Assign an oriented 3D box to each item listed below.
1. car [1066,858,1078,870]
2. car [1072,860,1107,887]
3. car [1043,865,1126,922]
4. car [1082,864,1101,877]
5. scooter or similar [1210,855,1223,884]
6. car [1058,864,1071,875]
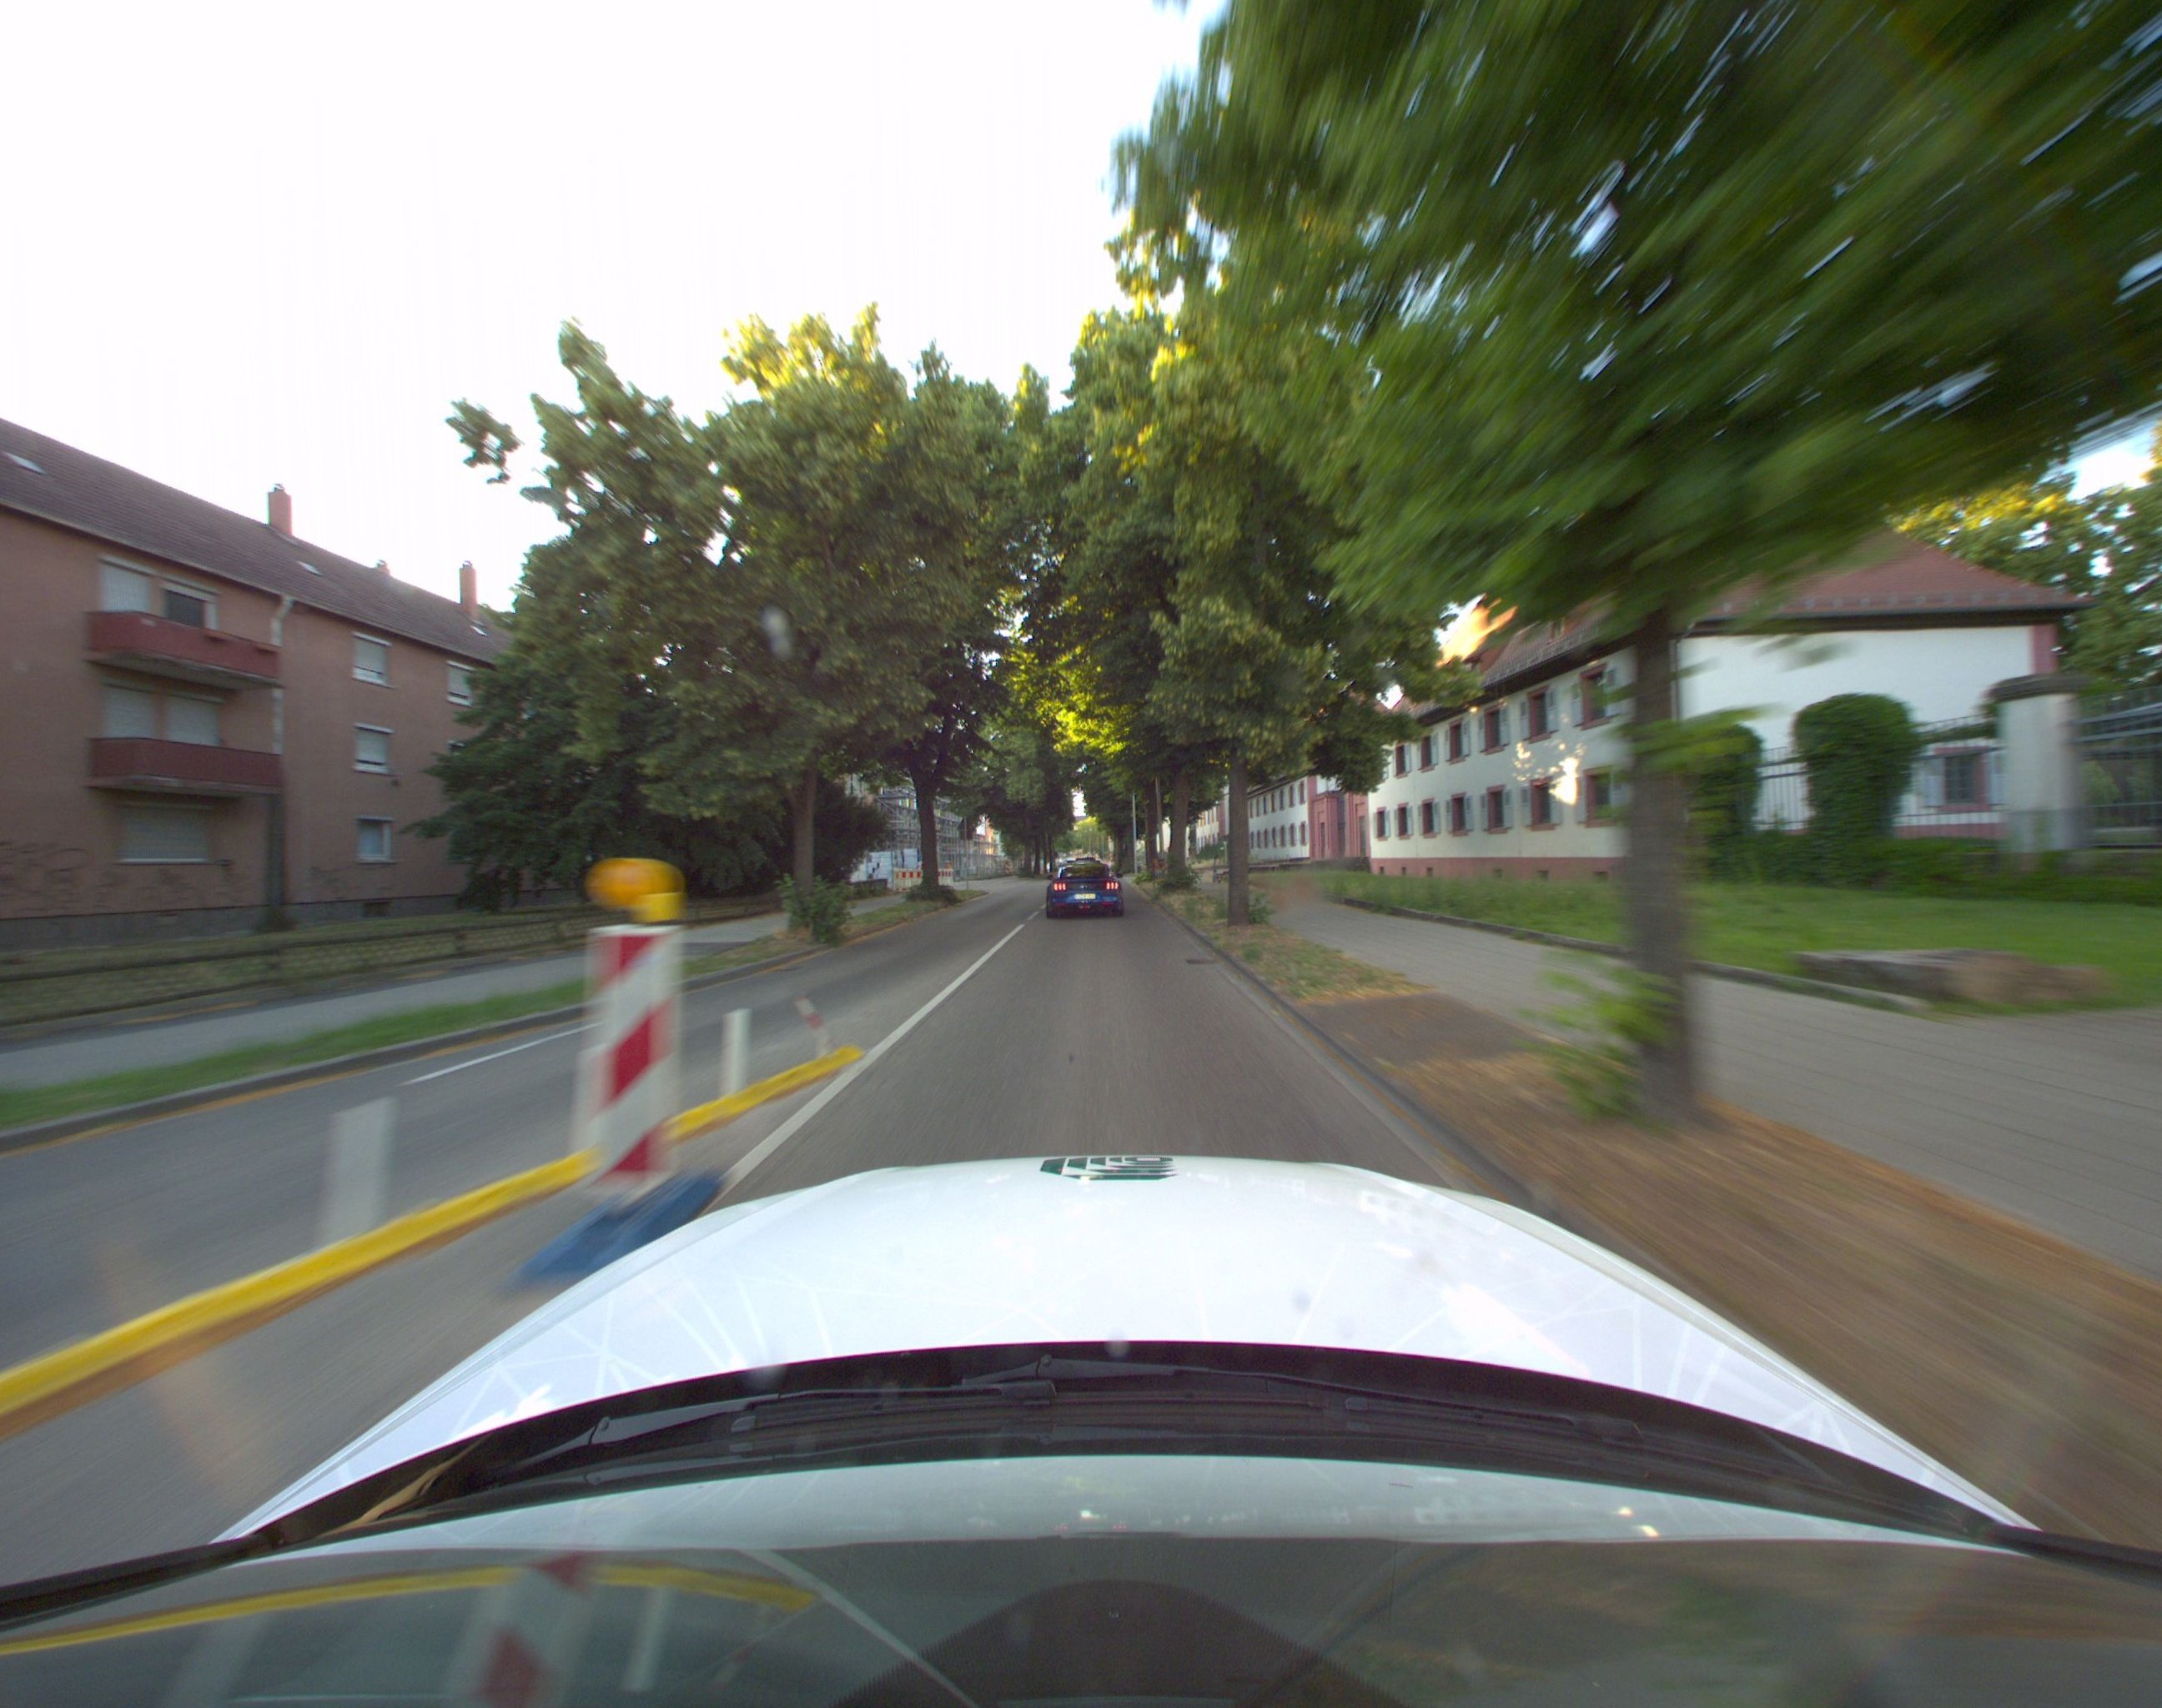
[{"bbox_3d":[-2.063,2.241,181.004,2.484,2.697,5.830,-2,-1,0],"label":"car"},{"bbox_3d":[0.531,1.167,49.208,1.939,1.527,4.003,0,-1,3],"label":"car"},{"bbox_3d":[0.120,0.957,21.193,1.940,1.327,4.000,0,-1,1],"label":"car"},{"bbox_3d":[1.159,1.773,87.519,1.939,1.327,4.003,0,-1,3],"label":"car"},{"bbox_3d":[6.137,0.717,36.887,0.238,1.276,1.265,-2,-1,-4],"label":"scooter or similar"},{"bbox_3d":[-3.469,3.140,169.697,2.327,2.198,5.312,-2,-1,3],"label":"car"}]
